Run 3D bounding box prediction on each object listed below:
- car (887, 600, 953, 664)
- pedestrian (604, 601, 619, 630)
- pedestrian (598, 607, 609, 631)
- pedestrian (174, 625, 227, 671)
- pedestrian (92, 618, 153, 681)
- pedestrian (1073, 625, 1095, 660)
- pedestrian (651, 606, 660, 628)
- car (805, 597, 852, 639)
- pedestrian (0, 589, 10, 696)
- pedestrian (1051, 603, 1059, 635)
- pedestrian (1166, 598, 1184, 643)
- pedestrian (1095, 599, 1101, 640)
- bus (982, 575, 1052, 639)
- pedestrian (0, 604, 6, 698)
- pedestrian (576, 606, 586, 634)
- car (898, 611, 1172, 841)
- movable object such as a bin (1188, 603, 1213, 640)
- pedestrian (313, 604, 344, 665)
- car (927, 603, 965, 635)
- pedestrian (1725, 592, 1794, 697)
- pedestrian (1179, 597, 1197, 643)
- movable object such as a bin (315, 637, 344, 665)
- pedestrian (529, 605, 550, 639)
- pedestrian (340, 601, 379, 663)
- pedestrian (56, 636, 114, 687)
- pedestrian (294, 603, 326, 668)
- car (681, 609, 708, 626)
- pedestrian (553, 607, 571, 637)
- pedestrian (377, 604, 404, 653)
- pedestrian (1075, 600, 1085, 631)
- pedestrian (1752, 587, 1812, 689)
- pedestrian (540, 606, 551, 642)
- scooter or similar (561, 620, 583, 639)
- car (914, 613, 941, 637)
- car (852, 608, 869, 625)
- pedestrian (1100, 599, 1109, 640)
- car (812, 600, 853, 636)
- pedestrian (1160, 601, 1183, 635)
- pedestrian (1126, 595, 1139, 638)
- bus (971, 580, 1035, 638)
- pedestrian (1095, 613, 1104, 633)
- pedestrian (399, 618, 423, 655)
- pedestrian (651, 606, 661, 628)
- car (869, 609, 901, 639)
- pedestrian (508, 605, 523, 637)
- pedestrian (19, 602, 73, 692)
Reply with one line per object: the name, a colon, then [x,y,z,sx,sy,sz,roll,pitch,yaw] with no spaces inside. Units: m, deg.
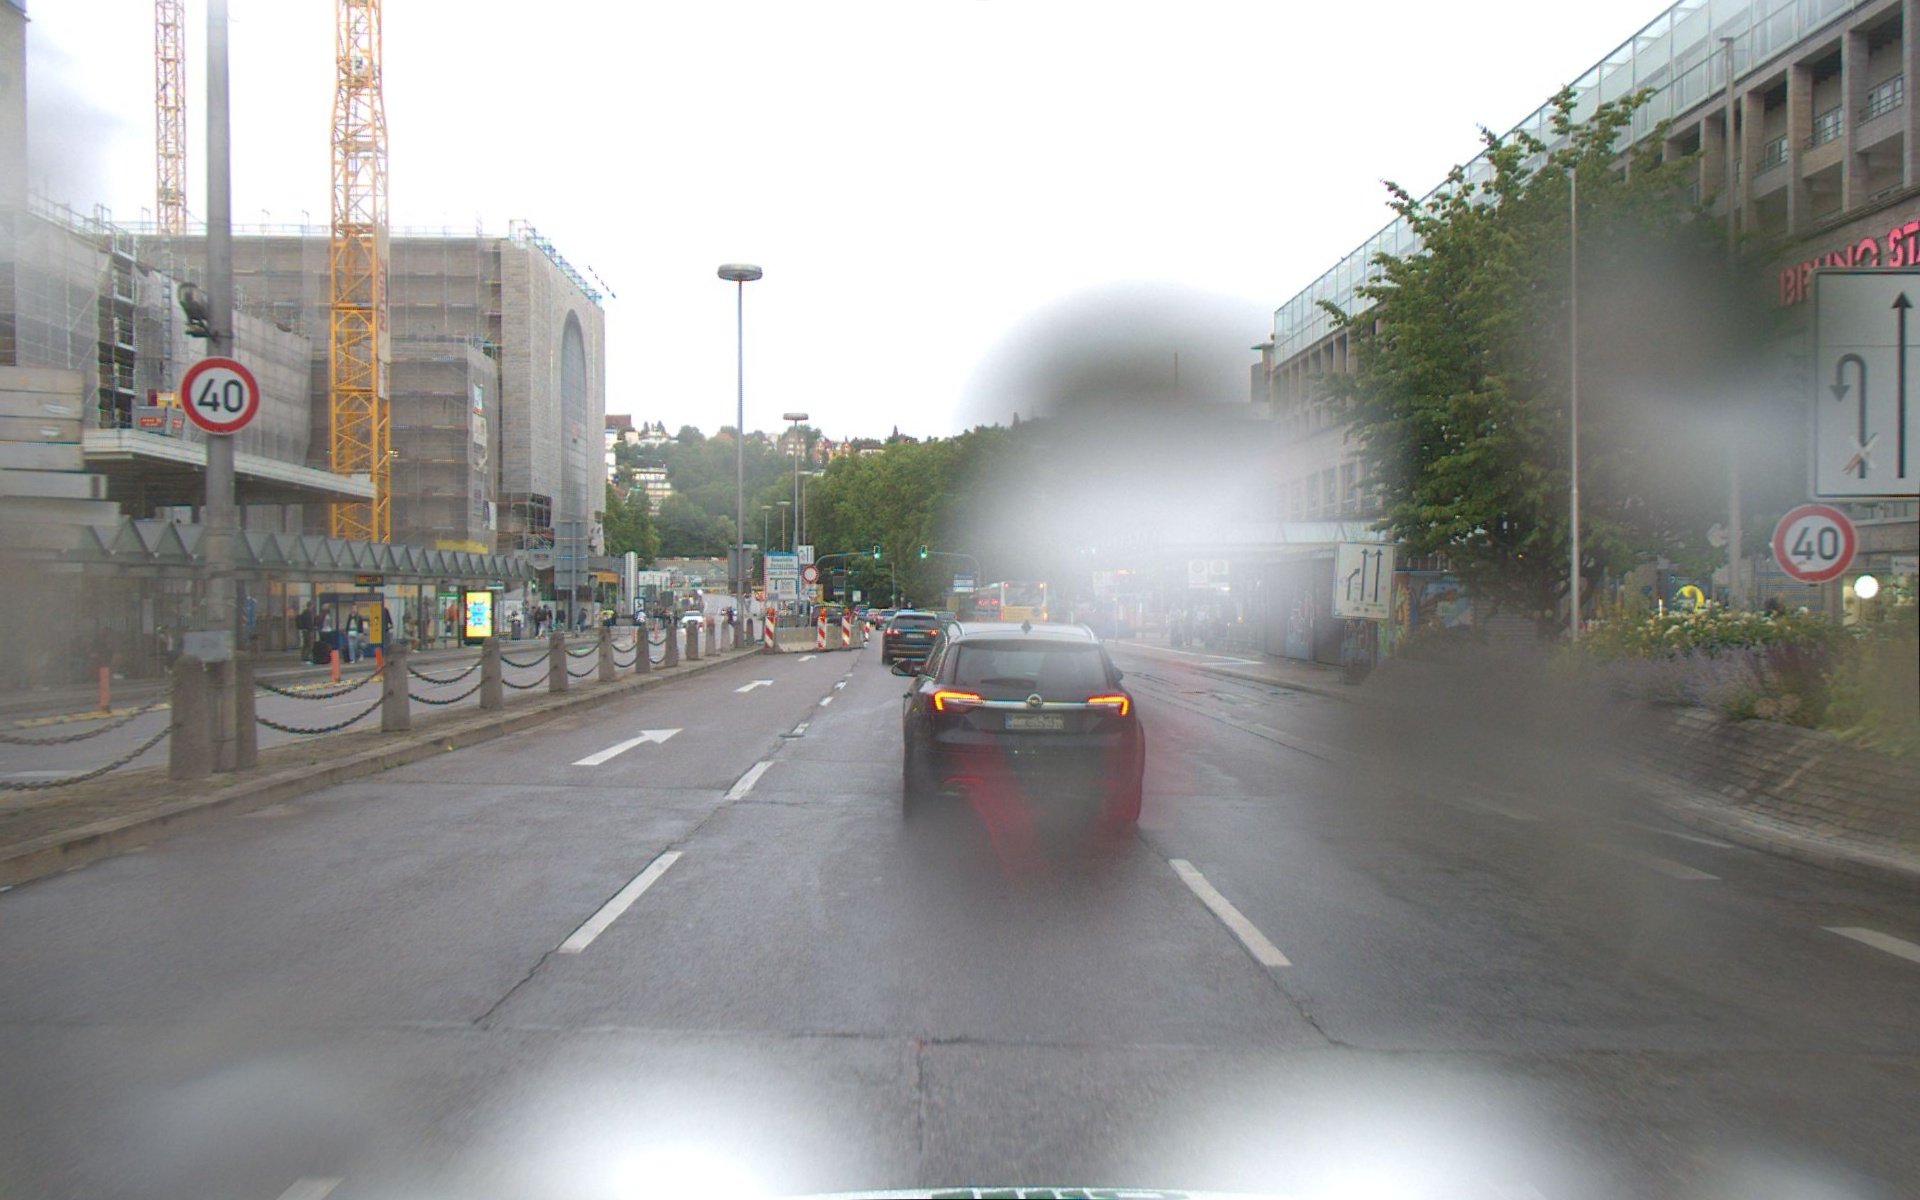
car: [-1.165,0.885,47.185,1.793,1.715,4.132,0,0,-2]
pedestrian: [-22.999,1.006,109.133,0.861,1.873,0.835,1,-1,-17]
pedestrian: [-25.863,1.380,120.049,0.670,1.715,0.835,1,-1,-17]
pedestrian: [-20.188,1.267,43.957,0.930,1.178,1.054,0,0,-3]
pedestrian: [-19.833,1.172,39.196,1.034,1.457,0.830,0,-1,-4]
pedestrian: [6.253,2.134,83.645,0.749,1.720,0.992,1,-1,-24]
pedestrian: [-25.747,1.421,139.710,0.684,1.873,0.528,0,-1,-5]
car: [-6.095,0.833,77.217,1.953,1.895,4.831,0,0,-2]
pedestrian: [-18.250,0.795,30.702,0.744,1.993,0.821,1,-1,-5]
pedestrian: [5.643,1.109,97.951,0.433,1.869,0.577,0,-1,2]
pedestrian: [8.882,0.836,68.342,0.662,1.869,0.574,0,-1,-1]
pedestrian: [6.356,0.910,76.400,0.238,1.869,0.512,0,-1,1]
bus: [3.034,0.436,91.105,3.078,3.304,9.129,1,-1,-3]
pedestrian: [-18.871,0.994,31.912,0.546,1.821,0.803,1,-1,-11]
pedestrian: [-25.188,1.326,109.974,0.561,1.873,0.701,1,-1,-17]
car: [0.451,0.867,13.559,1.839,1.534,4.850,0,0,-1]
movable object such as a bin: [11.046,0.989,75.940,0.654,1.681,1.040,1,-1,-26]
pedestrian: [-19.262,1.046,50.425,0.772,1.821,0.666,1,-1,-30]
car: [-0.802,1.061,93.891,1.816,1.747,3.995,1,-1,-5]
pedestrian: [13.869,0.753,28.697,0.627,1.782,1.075,0,0,-4]
pedestrian: [9.268,0.826,67.305,0.614,1.869,0.641,0,-1,-1]
movable object such as a bin: [-18.638,1.513,48.903,0.502,0.803,0.630,-2,-1,42]
pedestrian: [-23.177,1.207,91.153,0.688,1.873,0.877,0,-1,26]
pedestrian: [-17.685,0.931,48.720,0.759,1.821,0.861,0,-1,4]
pedestrian: [-19.673,1.373,37.184,0.827,1.112,0.925,0,0,-4]
pedestrian: [-19.000,1.025,48.354,0.548,1.880,0.674,-1,-1,43]
car: [-23.869,1.605,148.598,1.954,1.493,3.997,1,-1,-3]
pedestrian: [-25.663,1.415,106.673,0.822,1.873,1.058,0,-1,1]
pedestrian: [-22.075,1.095,64.111,0.729,1.873,0.702,0,-1,17]
pedestrian: [7.153,0.925,98.967,0.553,1.869,0.569,0,-1,0]
pedestrian: [14.577,0.667,29.341,0.600,1.782,0.868,0,-1,-4]
pedestrian: [-22.088,1.284,88.172,0.498,1.873,0.703,0,-1,-9]
scooter or similar: [-21.790,1.657,92.931,0.450,1.085,1.237,0,-1,31]
car: [-2.185,1.688,111.444,1.641,1.609,3.237,1,-1,-4]
car: [-10.294,1.707,171.340,1.671,1.694,3.704,1,-1,-2]
pedestrian: [6.686,0.892,76.434,0.339,1.869,0.533,0,-1,1]
car: [-6.367,0.904,82.613,1.954,1.736,4.828,0,0,-4]
pedestrian: [11.289,0.952,88.177,0.778,1.836,0.982,0,-1,-31]
pedestrian: [9.085,0.892,87.172,0.578,2.254,0.587,0,-1,-1]
bus: [2.540,0.586,100.253,3.051,3.261,9.234,1,-1,-4]
pedestrian: [8.827,1.464,104.812,0.504,1.254,0.770,0,-1,0]
pedestrian: [-20.624,1.361,62.128,0.685,1.349,0.804,0,0,-4]
pedestrian: [-25.811,1.424,140.425,0.684,1.873,0.877,1,-1,-5]
car: [-5.338,1.727,117.834,1.946,2.049,4.363,1,-1,-6]
pedestrian: [-25.919,1.222,96.470,0.706,1.873,0.612,0,-1,1]
pedestrian: [-18.600,0.950,33.666,0.710,1.821,0.746,0,-1,-8]
